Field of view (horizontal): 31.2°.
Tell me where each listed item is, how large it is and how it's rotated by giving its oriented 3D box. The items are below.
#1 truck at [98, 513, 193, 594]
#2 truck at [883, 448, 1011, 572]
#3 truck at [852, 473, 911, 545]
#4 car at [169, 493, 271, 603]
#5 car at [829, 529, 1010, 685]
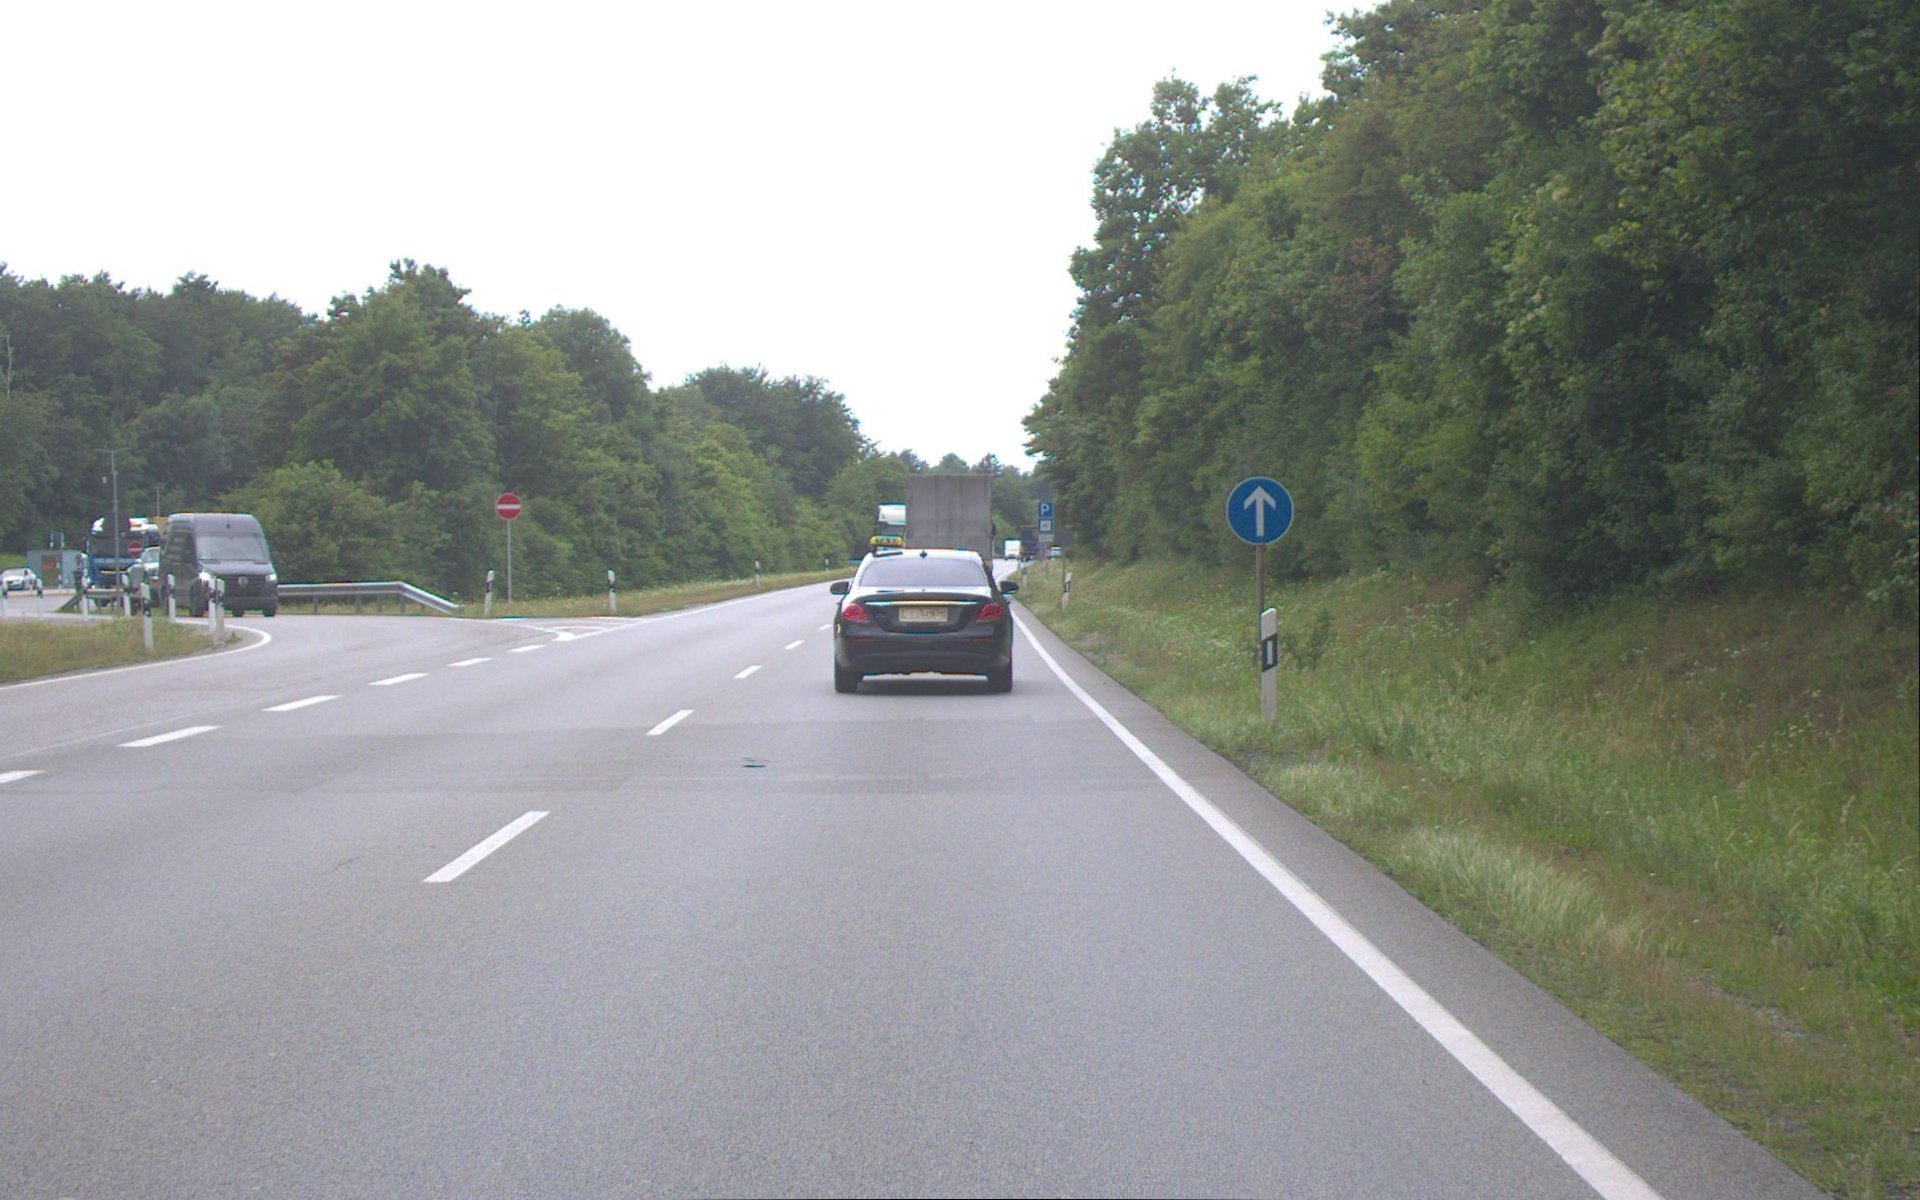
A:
[{"bbox_3d":[-31.415,-1.787,132.830,1.993,3.002,7.227,0,1,0],"label":"truck"},{"bbox_3d":[-0.314,-2.714,106.620,3.281,3.599,11.399,0,1,3],"label":"truck"},{"bbox_3d":[-4.561,-5.262,201.241,3.189,4.048,9.576,0,1,0],"label":"truck"},{"bbox_3d":[-18.409,-1.292,85.659,2.255,2.521,7.166,-3,1,-12],"label":"car"},{"bbox_3d":[-0.430,0.044,36.248,1.791,1.546,4.000,0,1,-1],"label":"car"}]
